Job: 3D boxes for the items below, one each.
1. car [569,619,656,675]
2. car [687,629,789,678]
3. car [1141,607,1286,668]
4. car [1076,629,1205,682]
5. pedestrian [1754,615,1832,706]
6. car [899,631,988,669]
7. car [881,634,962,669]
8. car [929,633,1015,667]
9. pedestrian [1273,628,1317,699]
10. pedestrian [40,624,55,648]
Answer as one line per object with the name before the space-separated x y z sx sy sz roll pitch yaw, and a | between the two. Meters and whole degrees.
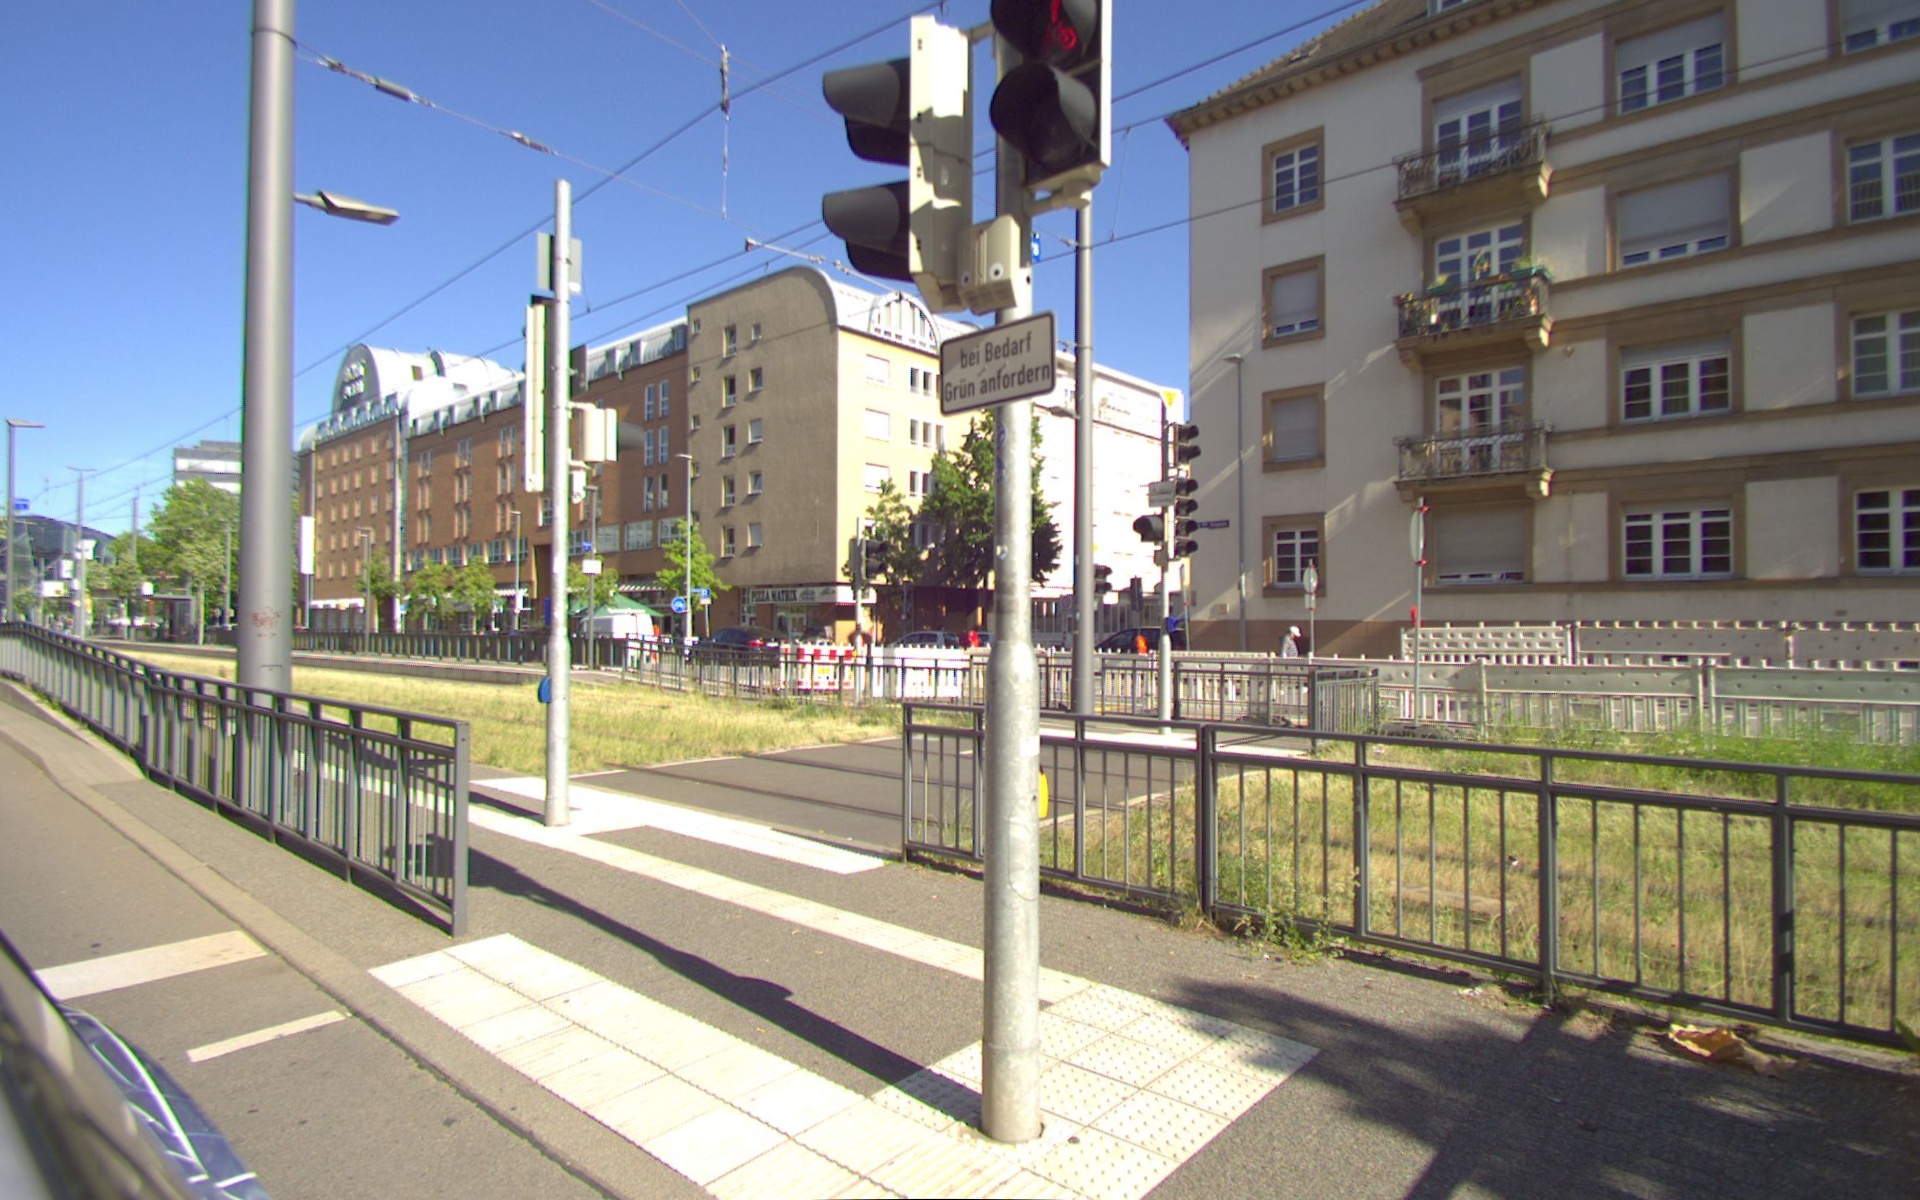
car | -15.873 2.073 46.025 1.969 2.314 5.197 0 -1 -41
car | -8.381 1.964 38.112 3.996 1.652 1.677 -1 -1 40
car | 10.864 1.535 43.558 5.737 2.473 1.978 0 -1 32
car | 6.172 1.853 34.801 3.994 1.652 1.845 -1 -1 38
pedestrian | 14.570 1.030 17.709 1.020 1.529 0.778 -1 -1 41
car | -0.760 2.261 46.369 3.955 1.564 1.457 0 -1 33
car | -1.694 2.224 44.346 3.334 1.439 1.423 0 -1 29
car | 0.552 2.369 48.584 3.997 1.497 1.693 -1 -1 40
pedestrian | 7.408 1.385 22.369 0.802 1.515 0.705 -1 -2 27
pedestrian | -73.072 2.901 81.002 0.810 1.903 0.769 2 -3 -45
